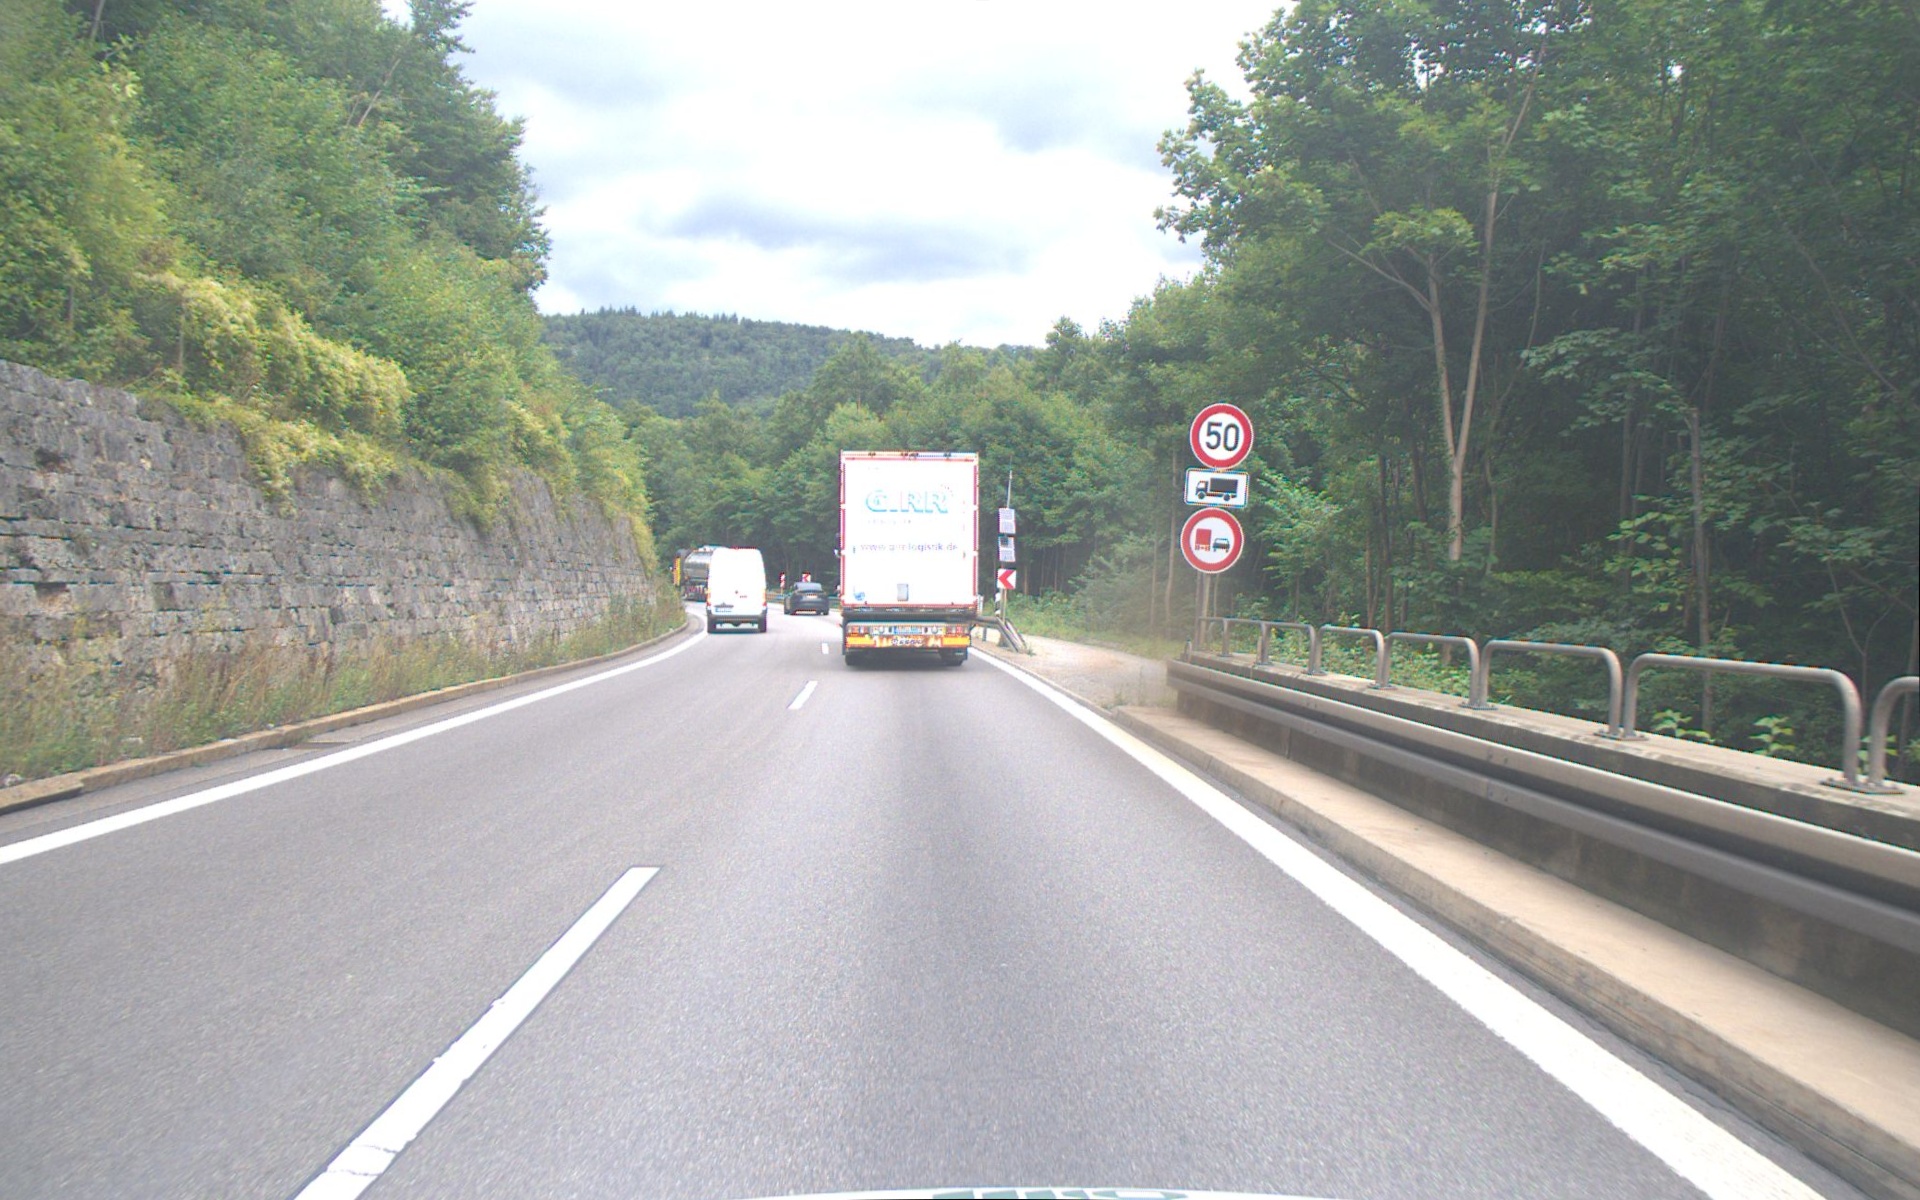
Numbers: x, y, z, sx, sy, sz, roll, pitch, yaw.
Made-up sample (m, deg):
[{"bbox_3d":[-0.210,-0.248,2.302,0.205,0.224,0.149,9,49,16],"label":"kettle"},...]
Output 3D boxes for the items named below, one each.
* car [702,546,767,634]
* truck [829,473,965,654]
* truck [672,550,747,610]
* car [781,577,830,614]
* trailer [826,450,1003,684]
[{"bbox_3d":[-7.572,-0.343,56.020,1.951,2.718,6.926,2,0,-7],"label":"car"},{"bbox_3d":[-1.720,-0.954,42.162,2.997,4.055,7.182,3,2,-4],"label":"truck"},{"bbox_3d":[-18.253,-1.569,119.474,3.011,4.055,13.625,-1,2,-19],"label":"truck"},{"bbox_3d":[-7.639,-0.248,81.624,1.958,1.691,3.989,2,0,-11],"label":"car"},{"bbox_3d":[-1.243,-0.771,35.768,2.997,4.055,12.128,3,2,-4],"label":"trailer"}]
